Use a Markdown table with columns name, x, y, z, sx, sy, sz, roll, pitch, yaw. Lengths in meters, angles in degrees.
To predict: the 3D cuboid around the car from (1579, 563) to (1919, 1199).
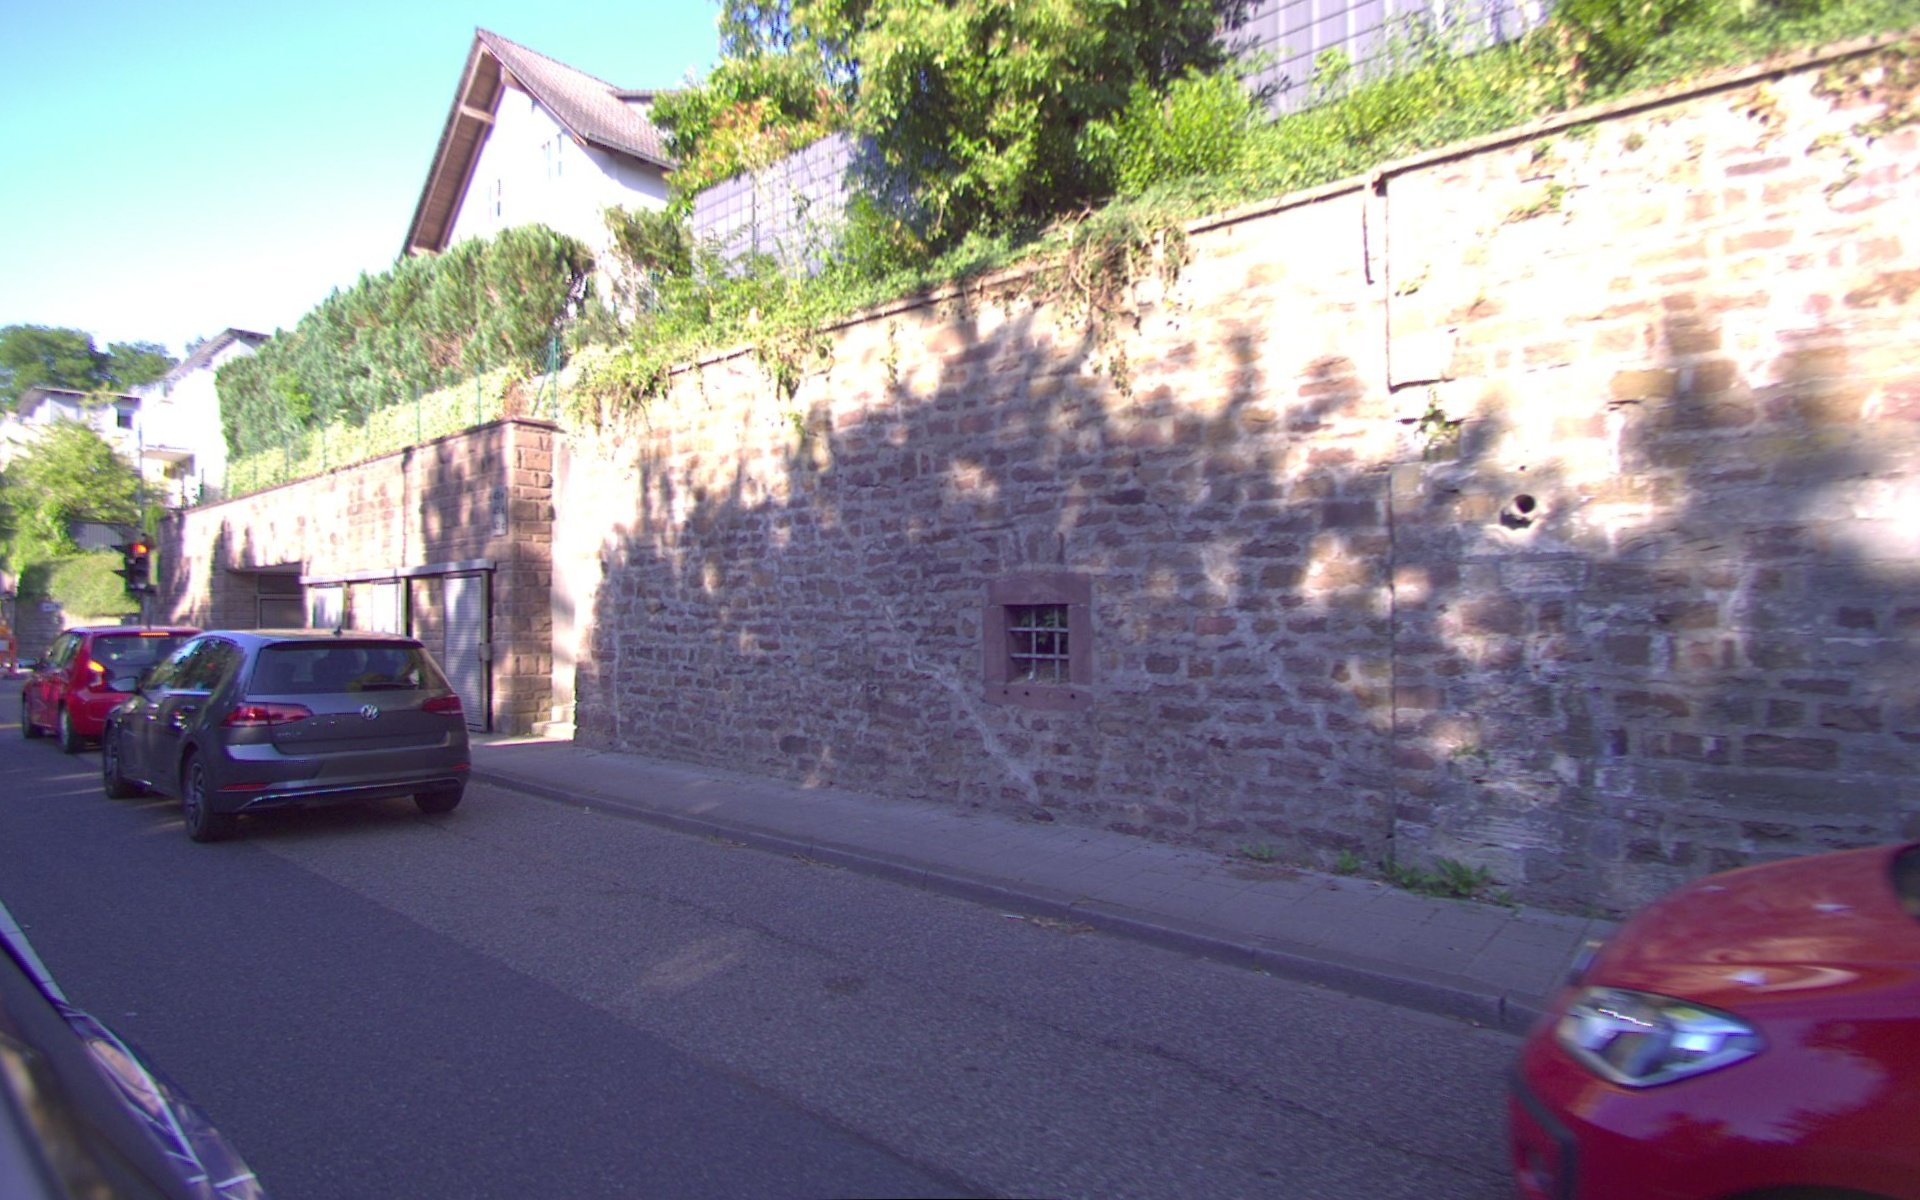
| name | x | y | z | sx | sy | sz | roll | pitch | yaw |
| --- | --- | --- | --- | --- | --- | --- | --- | --- | --- |
| car | 2.907 | 0.691 | 1.138 | 3.567 | 1.477 | 1.534 | -1 | -3 | 41 |

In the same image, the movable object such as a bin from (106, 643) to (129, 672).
| name | x | y | z | sx | sy | sz | roll | pitch | yaw |
| --- | --- | --- | --- | --- | --- | --- | --- | --- | --- |
| movable object such as a bin | -24.913 | 1.696 | 29.941 | 0.392 | 0.840 | 0.450 | -2 | -2 | 39 |

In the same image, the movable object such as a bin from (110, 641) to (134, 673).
| name | x | y | z | sx | sy | sz | roll | pitch | yaw |
| --- | --- | --- | --- | --- | --- | --- | --- | --- | --- |
| movable object such as a bin | -24.535 | 1.661 | 29.623 | 0.500 | 0.890 | 0.452 | -2 | -1 | 39 |

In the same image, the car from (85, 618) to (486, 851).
| name | x | y | z | sx | sy | sz | roll | pitch | yaw |
| --- | --- | --- | --- | --- | --- | --- | --- | --- | --- |
| car | -5.517 | 0.877 | 8.093 | 3.927 | 1.422 | 1.632 | -1 | -2 | 40 |

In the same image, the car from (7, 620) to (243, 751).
| name | x | y | z | sx | sy | sz | roll | pitch | yaw |
| --- | --- | --- | --- | --- | --- | --- | --- | --- | --- |
| car | -10.610 | 0.982 | 12.797 | 3.559 | 1.433 | 1.611 | -1 | -2 | 39 |
